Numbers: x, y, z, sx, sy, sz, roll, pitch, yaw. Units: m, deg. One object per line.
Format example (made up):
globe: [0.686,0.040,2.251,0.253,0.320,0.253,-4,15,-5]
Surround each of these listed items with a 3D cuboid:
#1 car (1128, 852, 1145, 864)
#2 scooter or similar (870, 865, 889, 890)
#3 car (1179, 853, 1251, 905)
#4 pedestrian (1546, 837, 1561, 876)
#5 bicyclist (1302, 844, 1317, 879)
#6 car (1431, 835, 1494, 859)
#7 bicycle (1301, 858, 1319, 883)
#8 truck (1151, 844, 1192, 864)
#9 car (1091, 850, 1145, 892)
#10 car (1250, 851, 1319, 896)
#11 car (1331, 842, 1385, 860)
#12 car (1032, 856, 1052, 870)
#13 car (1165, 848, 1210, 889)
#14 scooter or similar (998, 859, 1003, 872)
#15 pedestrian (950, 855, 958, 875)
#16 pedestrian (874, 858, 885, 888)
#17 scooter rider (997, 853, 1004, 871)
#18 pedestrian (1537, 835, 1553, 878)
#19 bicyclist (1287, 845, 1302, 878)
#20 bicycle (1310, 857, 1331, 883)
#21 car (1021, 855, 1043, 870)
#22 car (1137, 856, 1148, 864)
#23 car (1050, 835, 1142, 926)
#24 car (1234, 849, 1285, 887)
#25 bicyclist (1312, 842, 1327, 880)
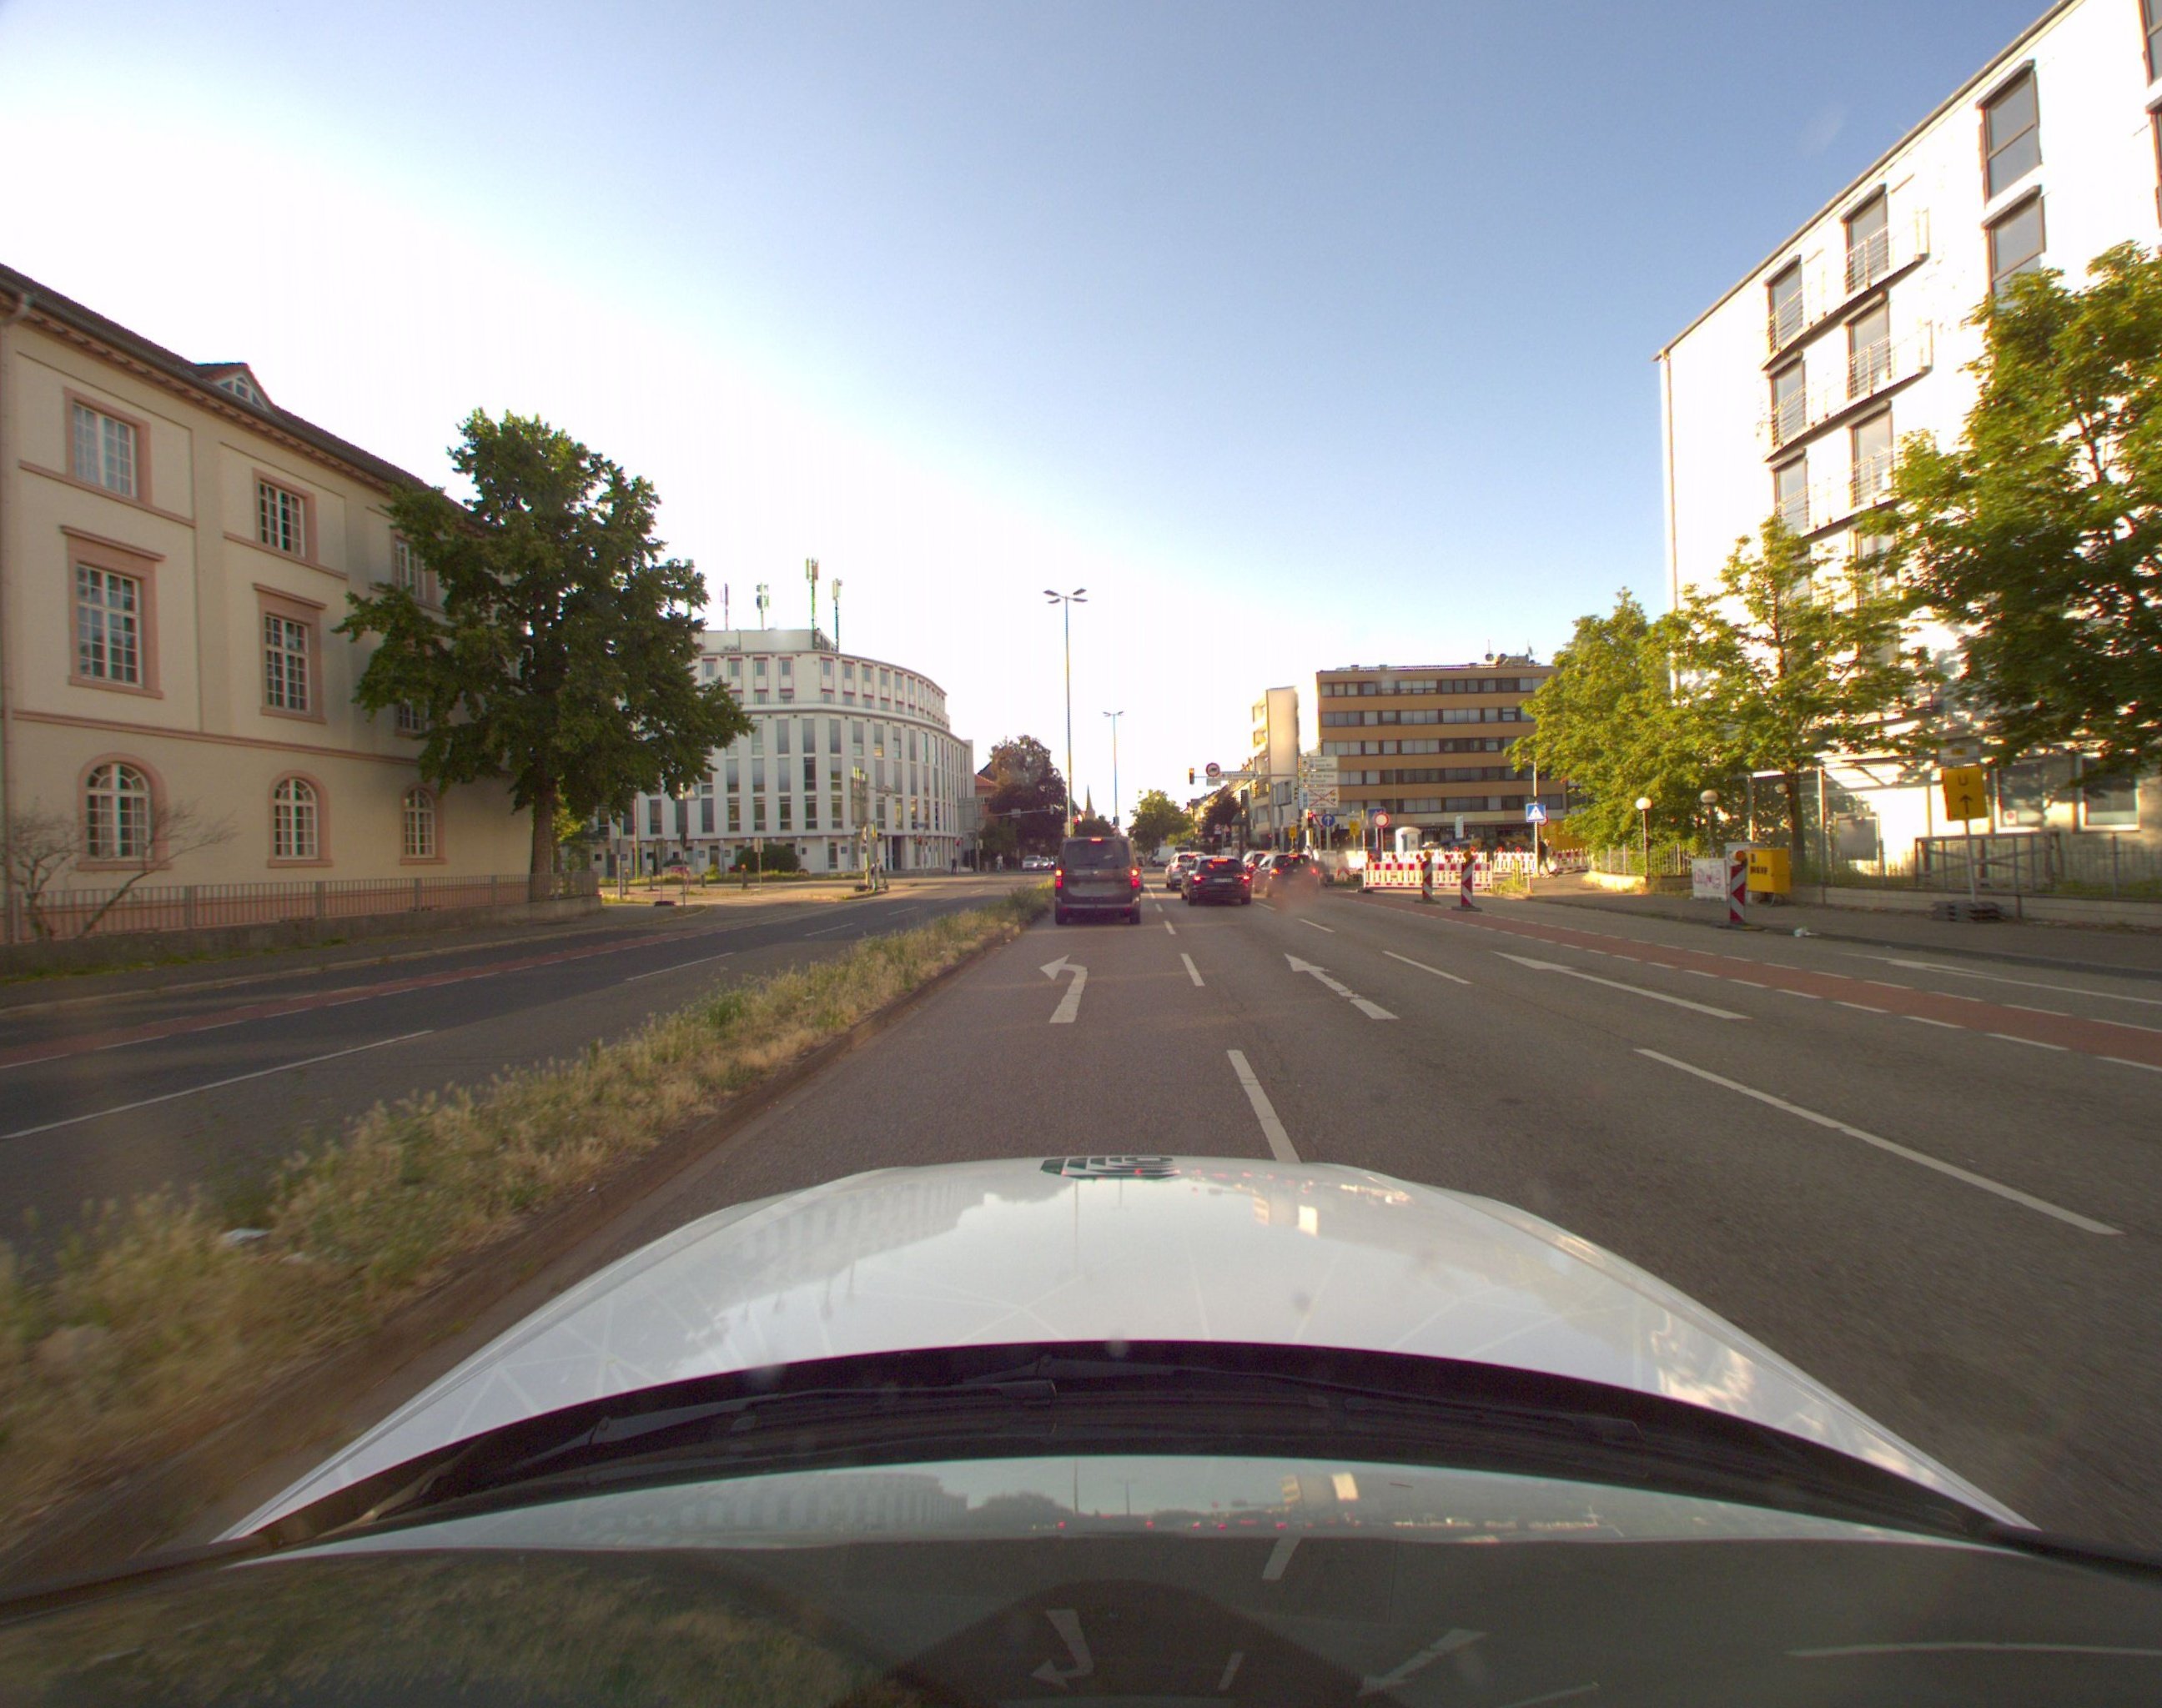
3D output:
car: [8.161,0.591,120.283,1.989,1.662,3.995,-2,0,-3]
scooter or similar: [-10.272,1.211,41.588,0.892,1.234,0.370,-2,0,-9]
car: [3.959,0.700,24.644,1.675,1.421,4.217,0,0,3]
pedestrian: [20.459,0.113,35.268,0.448,1.671,0.607,-2,0,38]
bicyclist: [9.958,0.315,35.553,0.439,1.525,0.726,-2,0,3]
car: [31.335,-0.594,67.025,4.198,1.817,2.002,-2,0,3]
bicycle: [9.959,0.700,35.470,0.335,1.008,1.857,-2,0,3]
truck: [9.651,0.035,87.181,2.139,2.086,4.592,-2,0,-26]
car: [1.493,0.654,32.912,1.985,1.530,4.003,-2,0,3]
car: [6.936,0.613,28.091,1.627,1.449,3.748,0,0,3]
car: [23.359,-0.254,68.791,3.979,1.420,1.785,-2,0,-4]
car: [-4.123,0.961,87.044,1.849,1.420,4.001,-2,0,1]
car: [4.333,0.556,33.446,1.522,1.613,3.748,0,0,3]
scooter or similar: [-7.669,1.082,77.513,0.284,1.188,1.170,-2,0,3]
pedestrian: [-10.956,0.966,70.449,0.626,1.722,0.669,-2,0,-11]
pedestrian: [-10.327,0.977,41.813,0.474,1.505,0.334,-2,0,-9]
scooter rider: [-7.671,0.780,77.459,0.479,1.697,0.637,-2,0,2]
pedestrian: [19.878,0.105,34.874,0.481,1.834,0.575,-2,0,35]
bicyclist: [10.077,0.339,38.488,0.511,1.525,0.726,-2,0,3]
bicycle: [9.791,0.647,33.336,0.335,1.008,1.857,-2,0,3]
car: [-4.890,0.851,81.341,1.849,1.420,4.001,-2,0,1]
car: [11.543,1.146,153.230,1.897,1.372,4.001,-2,0,1]
car: [0.428,0.544,19.169,1.899,1.863,4.530,0,0,3]
car: [7.337,0.549,33.715,1.498,1.449,3.307,-2,0,3]
bicyclist: [9.741,0.295,33.222,0.439,1.525,0.483,-2,0,2]
